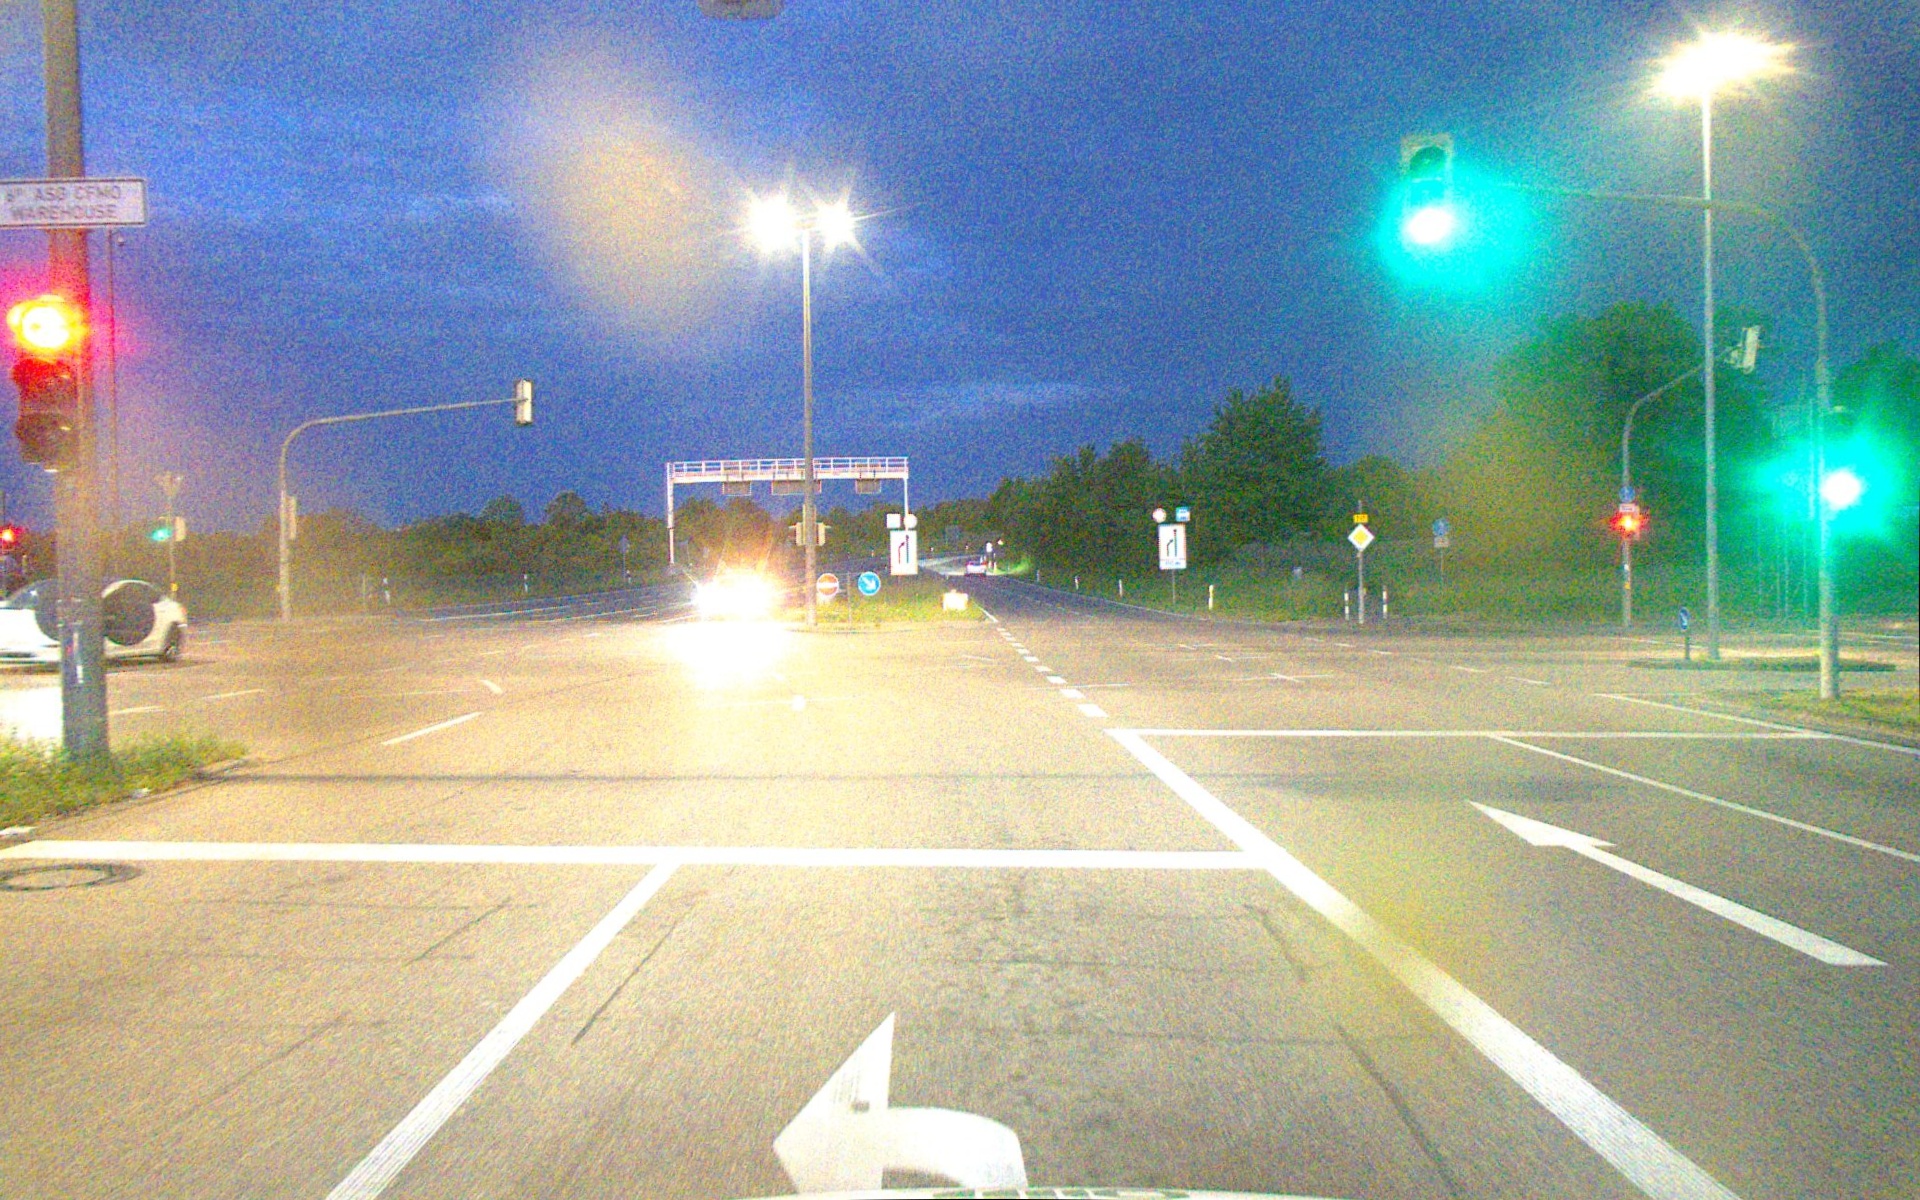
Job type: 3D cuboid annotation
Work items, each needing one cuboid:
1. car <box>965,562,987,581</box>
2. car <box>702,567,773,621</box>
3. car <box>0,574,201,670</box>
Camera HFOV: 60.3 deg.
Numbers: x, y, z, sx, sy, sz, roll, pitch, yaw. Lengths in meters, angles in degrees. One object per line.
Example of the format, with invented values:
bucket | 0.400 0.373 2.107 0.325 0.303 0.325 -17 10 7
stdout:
car | 1.469 -2.578 148.961 1.966 1.639 3.846 0 1 1
car | -7.325 -0.239 54.818 1.953 1.728 3.999 0 1 -2
car | -14.447 0.306 27.148 1.953 1.450 4.531 0 1 -1
